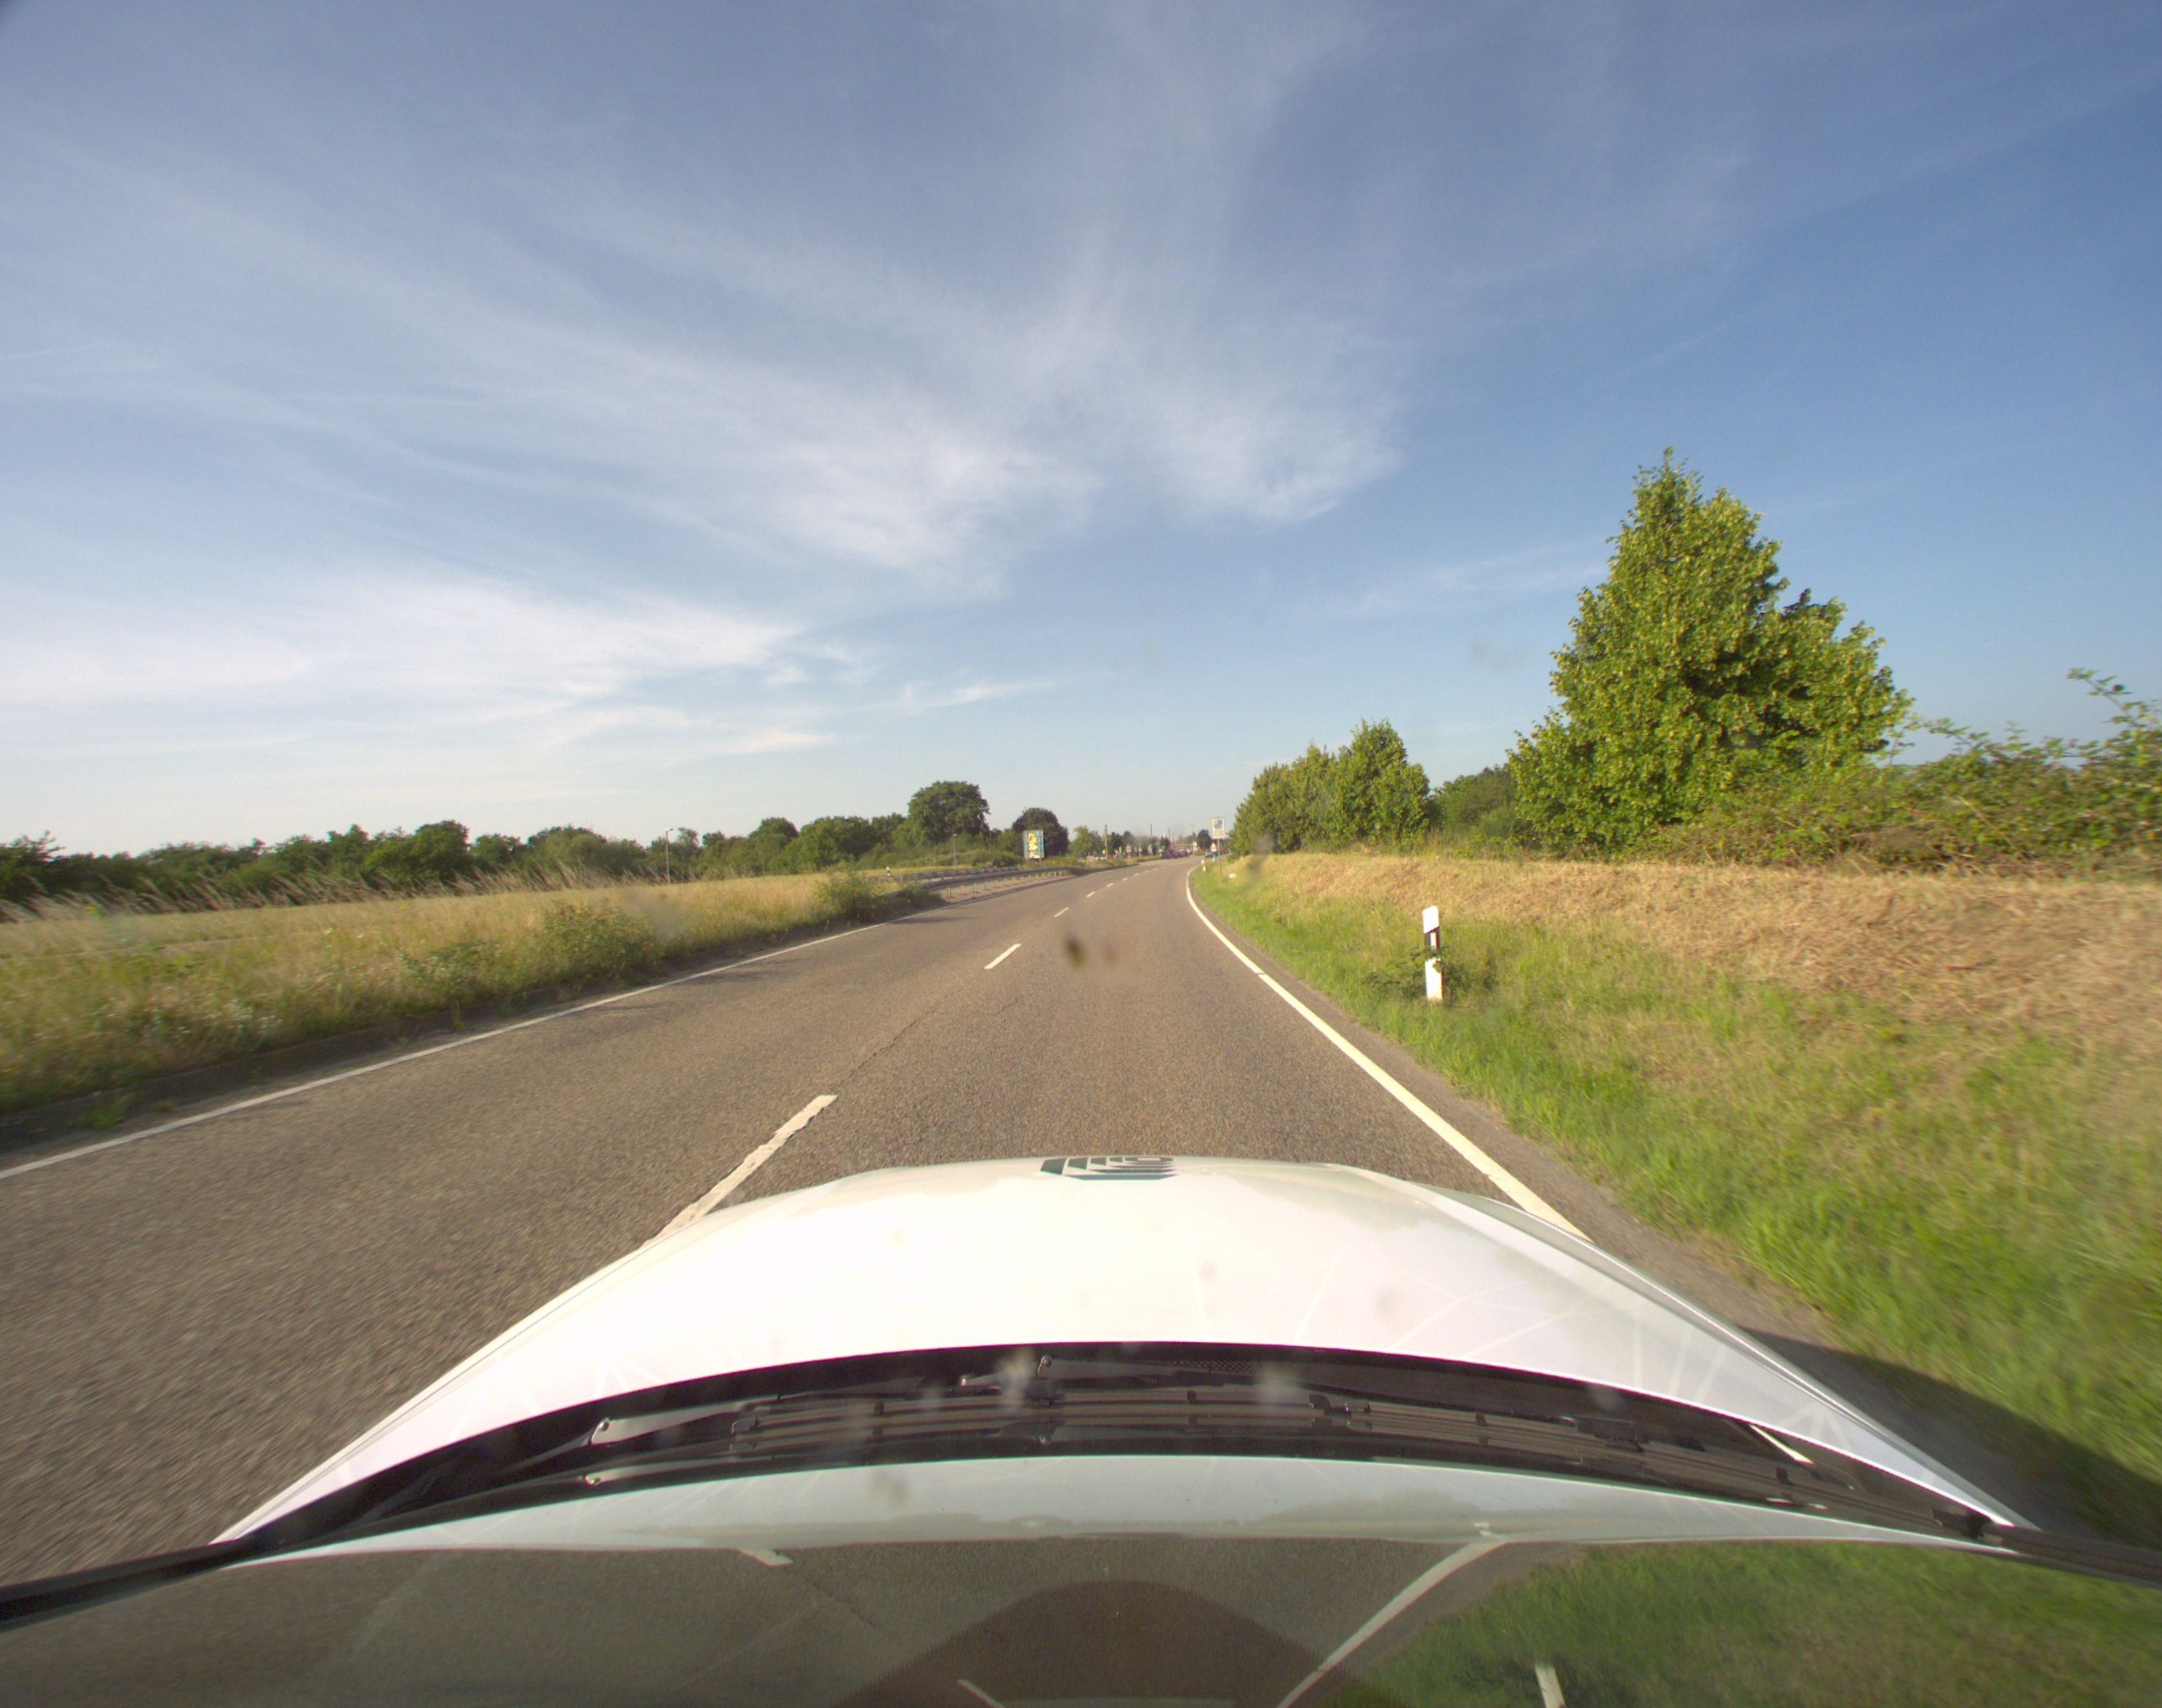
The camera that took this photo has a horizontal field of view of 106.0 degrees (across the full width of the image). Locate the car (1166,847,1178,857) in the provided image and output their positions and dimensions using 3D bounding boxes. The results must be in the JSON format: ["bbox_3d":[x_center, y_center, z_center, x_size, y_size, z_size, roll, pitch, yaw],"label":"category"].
[{"bbox_3d":[17.660,-0.432,157.485,1.721,1.855,4.535,-2,0,12],"label":"car"}]

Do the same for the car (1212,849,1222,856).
[{"bbox_3d":[29.857,-0.314,178.753,1.980,1.552,4.013,-2,0,12],"label":"car"}]

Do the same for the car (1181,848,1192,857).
[{"bbox_3d":[24.876,-0.379,192.256,1.979,2.014,4.854,-3,-2,14],"label":"car"}]

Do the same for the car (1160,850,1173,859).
[{"bbox_3d":[15.838,0.047,150.824,1.721,1.456,4.535,-2,0,12],"label":"car"}]

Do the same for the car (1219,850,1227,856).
[{"bbox_3d":[39.578,-0.227,226.596,1.981,1.596,4.012,-3,0,11],"label":"car"}]

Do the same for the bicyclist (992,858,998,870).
[{"bbox_3d":[-10.885,1.258,102.965,0.464,1.389,1.051,-3,0,11],"label":"bicyclist"}]

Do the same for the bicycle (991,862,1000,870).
[{"bbox_3d":[-10.826,1.521,102.981,0.526,0.878,1.710,-3,0,11],"label":"bicycle"}]

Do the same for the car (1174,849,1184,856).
[{"bbox_3d":[21.126,-0.271,174.841,1.758,1.471,4.028,-2,0,12],"label":"car"}]

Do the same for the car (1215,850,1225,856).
[{"bbox_3d":[33.892,-0.266,198.496,1.980,1.552,4.013,-2,0,12],"label":"car"}]

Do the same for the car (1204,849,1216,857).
[{"bbox_3d":[24.581,-0.189,155.541,1.980,1.552,4.013,-2,0,12],"label":"car"}]
